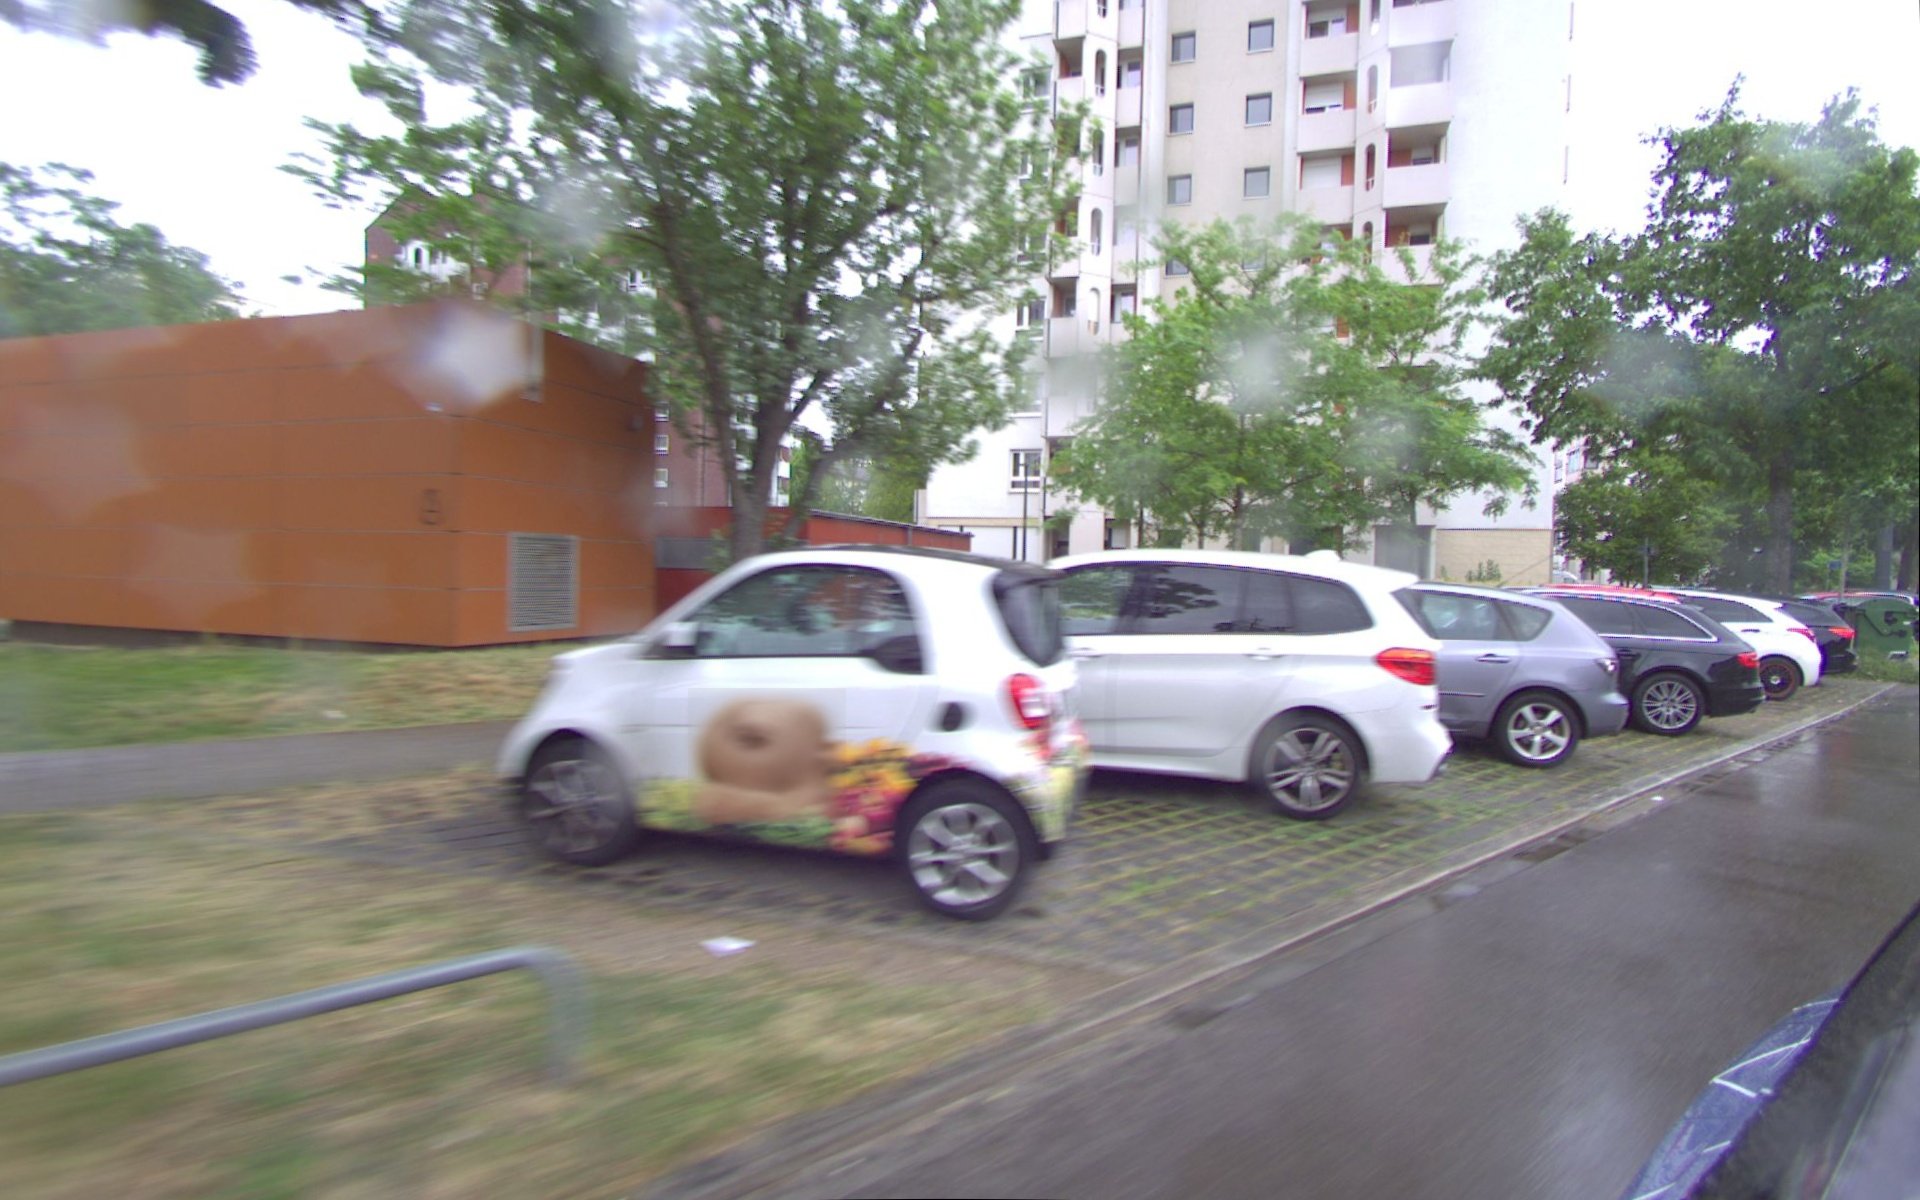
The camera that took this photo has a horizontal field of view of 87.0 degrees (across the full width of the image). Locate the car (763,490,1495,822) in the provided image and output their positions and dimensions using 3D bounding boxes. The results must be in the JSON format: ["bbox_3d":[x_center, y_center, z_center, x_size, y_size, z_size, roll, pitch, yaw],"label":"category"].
[{"bbox_3d":[1.043,0.254,7.184,4.391,1.692,1.808,4,2,11],"label":"car"}]

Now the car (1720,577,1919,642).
[{"bbox_3d":[24.622,0.231,29.068,3.988,1.506,1.718,4,2,14],"label":"car"}]

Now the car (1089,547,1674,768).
[{"bbox_3d":[3.525,0.389,9.212,4.399,1.427,1.760,5,3,15],"label":"car"}]

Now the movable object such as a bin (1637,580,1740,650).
[{"bbox_3d":[15.507,0.298,21.592,1.344,1.440,1.184,0,1,8],"label":"movable object such as a bin"}]

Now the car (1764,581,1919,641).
[{"bbox_3d":[27.301,0.316,30.825,3.987,1.706,1.718,1,1,14],"label":"car"}]

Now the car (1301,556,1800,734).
[{"bbox_3d":[6.205,0.388,11.248,4.400,1.445,1.676,5,3,16],"label":"car"}]

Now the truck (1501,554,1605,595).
[{"bbox_3d":[37.710,-1.634,64.505,5.632,2.468,2.101,1,1,32],"label":"truck"}]

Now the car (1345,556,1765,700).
[{"bbox_3d":[7.691,0.289,13.566,4.393,1.445,1.804,4,3,12],"label":"car"}]

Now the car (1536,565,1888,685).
[{"bbox_3d":[12.635,0.339,17.369,4.404,1.560,1.676,5,4,18],"label":"car"}]

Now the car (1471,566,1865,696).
[{"bbox_3d":[10.380,0.377,15.255,4.399,1.483,1.811,5,3,16],"label":"car"}]

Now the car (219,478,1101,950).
[{"bbox_3d":[-1.446,0.378,5.333,4.124,1.692,1.678,4,2,13],"label":"car"}]

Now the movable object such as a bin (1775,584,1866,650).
[{"bbox_3d":[18.019,0.338,21.218,0.981,1.329,1.183,0,1,12],"label":"movable object such as a bin"}]

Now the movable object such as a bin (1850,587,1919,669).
[{"bbox_3d":[18.956,0.537,20.417,1.152,1.581,1.363,1,1,26],"label":"movable object such as a bin"}]
